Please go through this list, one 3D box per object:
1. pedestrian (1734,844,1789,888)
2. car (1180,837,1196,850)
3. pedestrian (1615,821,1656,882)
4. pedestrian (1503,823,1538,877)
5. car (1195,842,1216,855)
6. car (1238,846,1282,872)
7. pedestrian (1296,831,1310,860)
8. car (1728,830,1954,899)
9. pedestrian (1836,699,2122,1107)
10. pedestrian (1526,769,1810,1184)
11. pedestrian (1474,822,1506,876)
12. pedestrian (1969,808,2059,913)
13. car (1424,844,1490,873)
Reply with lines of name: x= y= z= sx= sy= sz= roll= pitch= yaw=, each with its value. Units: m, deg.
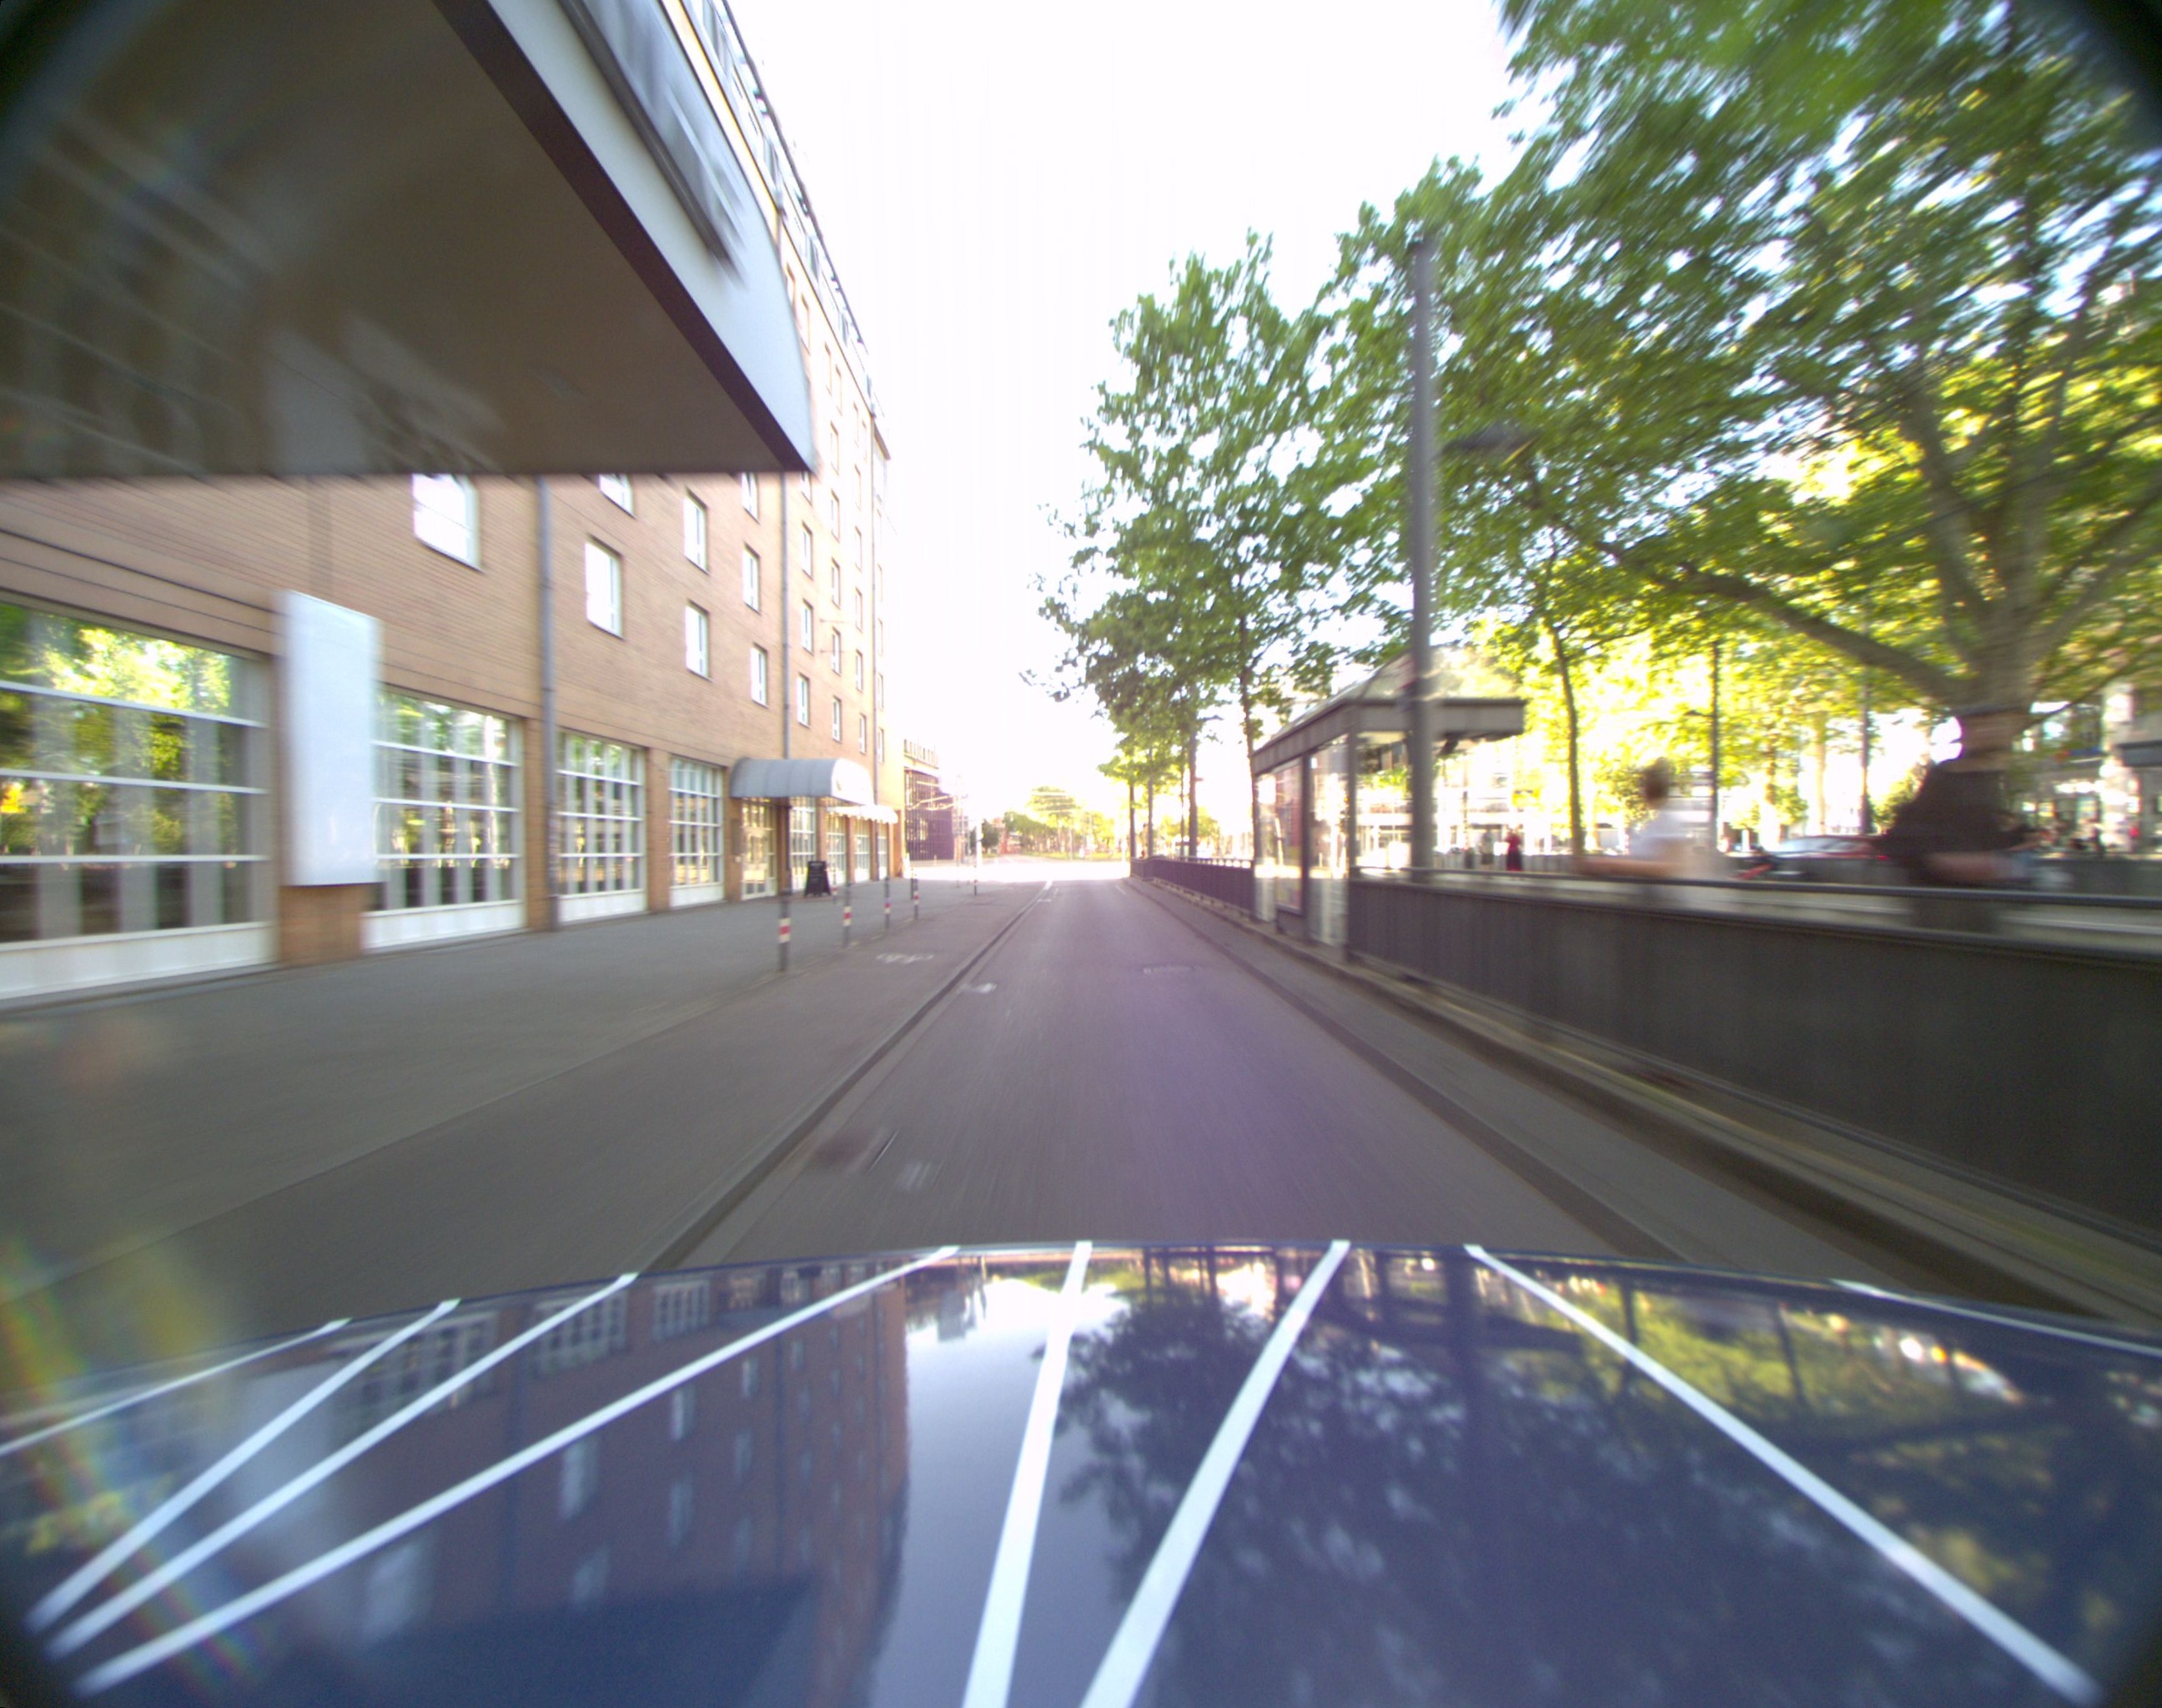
pedestrian: x=16.595 y=0.290 z=18.544 sx=0.723 sy=1.034 sz=0.698 roll=-1 pitch=1 yaw=8
car: x=15.185 y=-1.476 z=107.894 sx=1.998 sy=1.772 sz=4.001 roll=-3 pitch=0 yaw=6
pedestrian: x=16.016 y=-0.067 z=21.959 sx=0.698 sy=1.730 sz=0.637 roll=-1 pitch=1 yaw=-8
pedestrian: x=14.186 y=-0.132 z=24.558 sx=0.686 sy=1.686 sz=0.698 roll=-1 pitch=1 yaw=-8
car: x=15.156 y=-0.669 z=92.441 sx=1.907 sy=1.474 sz=4.292 roll=-1 pitch=1 yaw=17
car: x=10.794 y=0.281 z=46.097 sx=1.871 sy=1.447 sz=3.341 roll=-1 pitch=1 yaw=0
pedestrian: x=13.063 y=-0.505 z=44.635 sx=0.648 sy=1.676 sz=0.501 roll=-1 pitch=1 yaw=-3
car: x=19.714 y=0.216 z=20.013 sx=1.998 sy=1.630 sz=4.000 roll=0 pitch=1 yaw=1
pedestrian: x=4.359 y=0.221 z=3.741 sx=0.648 sy=1.829 sz=0.638 roll=-1 pitch=1 yaw=0
pedestrian: x=2.616 y=0.506 z=3.458 sx=0.742 sy=1.680 sz=0.645 roll=-3 pitch=1 yaw=-1
pedestrian: x=13.653 y=-0.167 z=25.384 sx=0.656 sy=1.744 sz=0.676 roll=-1 pitch=1 yaw=-8
pedestrian: x=14.948 y=0.093 z=12.185 sx=0.669 sy=1.632 sz=0.668 roll=-1 pitch=2 yaw=-12
car: x=19.727 y=0.194 z=40.023 sx=1.871 sy=1.447 sz=3.341 roll=-1 pitch=1 yaw=0
